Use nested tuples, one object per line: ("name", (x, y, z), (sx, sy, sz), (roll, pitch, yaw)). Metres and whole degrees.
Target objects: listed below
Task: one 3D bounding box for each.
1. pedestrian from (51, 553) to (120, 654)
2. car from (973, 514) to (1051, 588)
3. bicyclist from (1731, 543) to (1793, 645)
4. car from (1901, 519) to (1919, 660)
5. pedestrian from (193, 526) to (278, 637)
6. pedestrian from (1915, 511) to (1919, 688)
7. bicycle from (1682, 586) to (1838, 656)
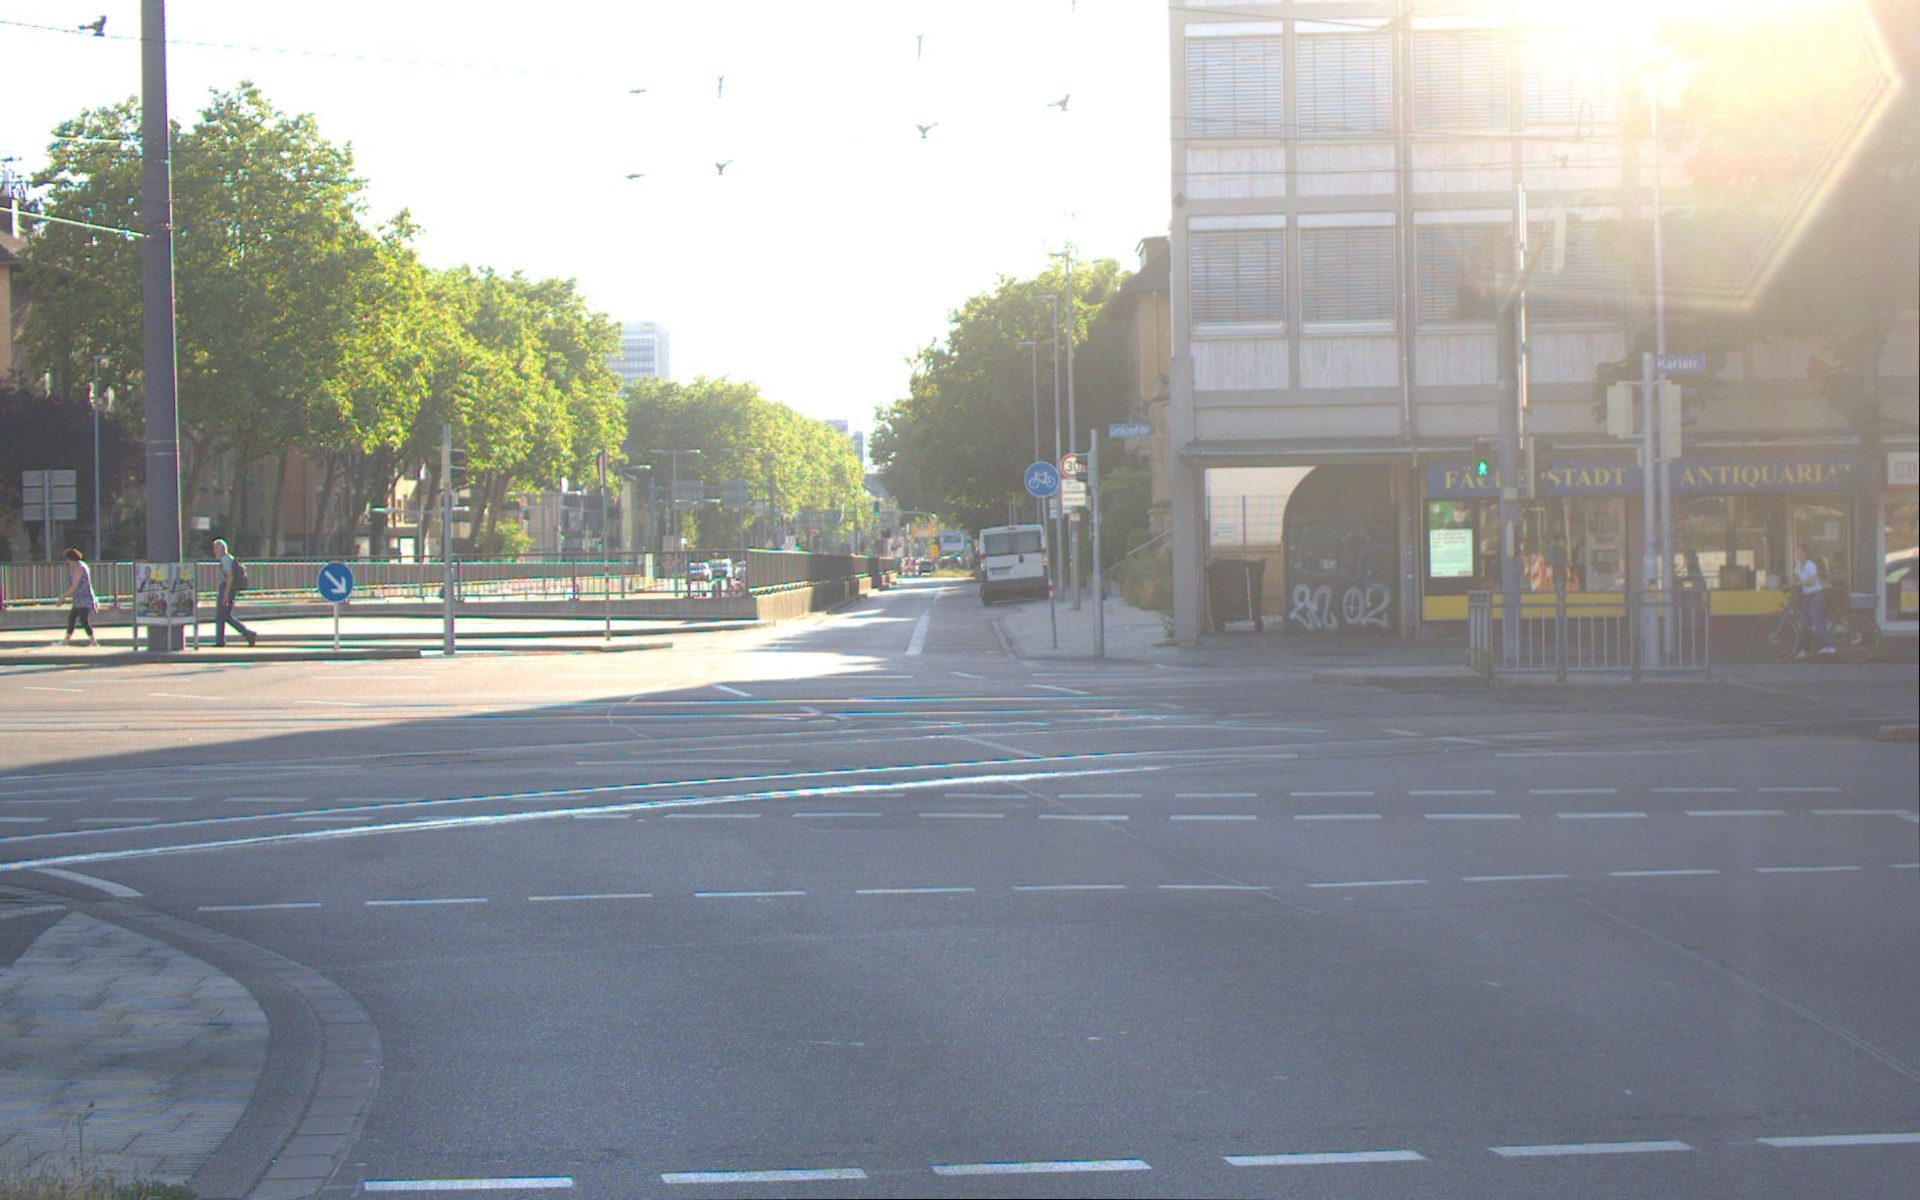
("pedestrian", (-13.164, 0.057, 51.736), (0.853, 1.460, 0.686), (1, -5, -29))
("car", (1.590, -1.469, 103.912), (2.286, 2.165, 4.833), (1, 1, 1))
("bicyclist", (11.245, -0.087, 48.218), (0.679, 1.419, 0.671), (1, 0, -1))
("car", (12.904, -0.093, 39.036), (3.987, 1.612, 1.844), (1, 0, 5))
("pedestrian", (-11.439, -0.296, 54.334), (1.194, 1.725, 0.856), (1, 0, -5))
("pedestrian", (9.467, -0.004, 32.637), (0.696, 1.676, 1.041), (1, 0, 13))
("bicycle", (11.216, 0.293, 48.230), (2.024, 0.937, 0.671), (1, 0, -1))
